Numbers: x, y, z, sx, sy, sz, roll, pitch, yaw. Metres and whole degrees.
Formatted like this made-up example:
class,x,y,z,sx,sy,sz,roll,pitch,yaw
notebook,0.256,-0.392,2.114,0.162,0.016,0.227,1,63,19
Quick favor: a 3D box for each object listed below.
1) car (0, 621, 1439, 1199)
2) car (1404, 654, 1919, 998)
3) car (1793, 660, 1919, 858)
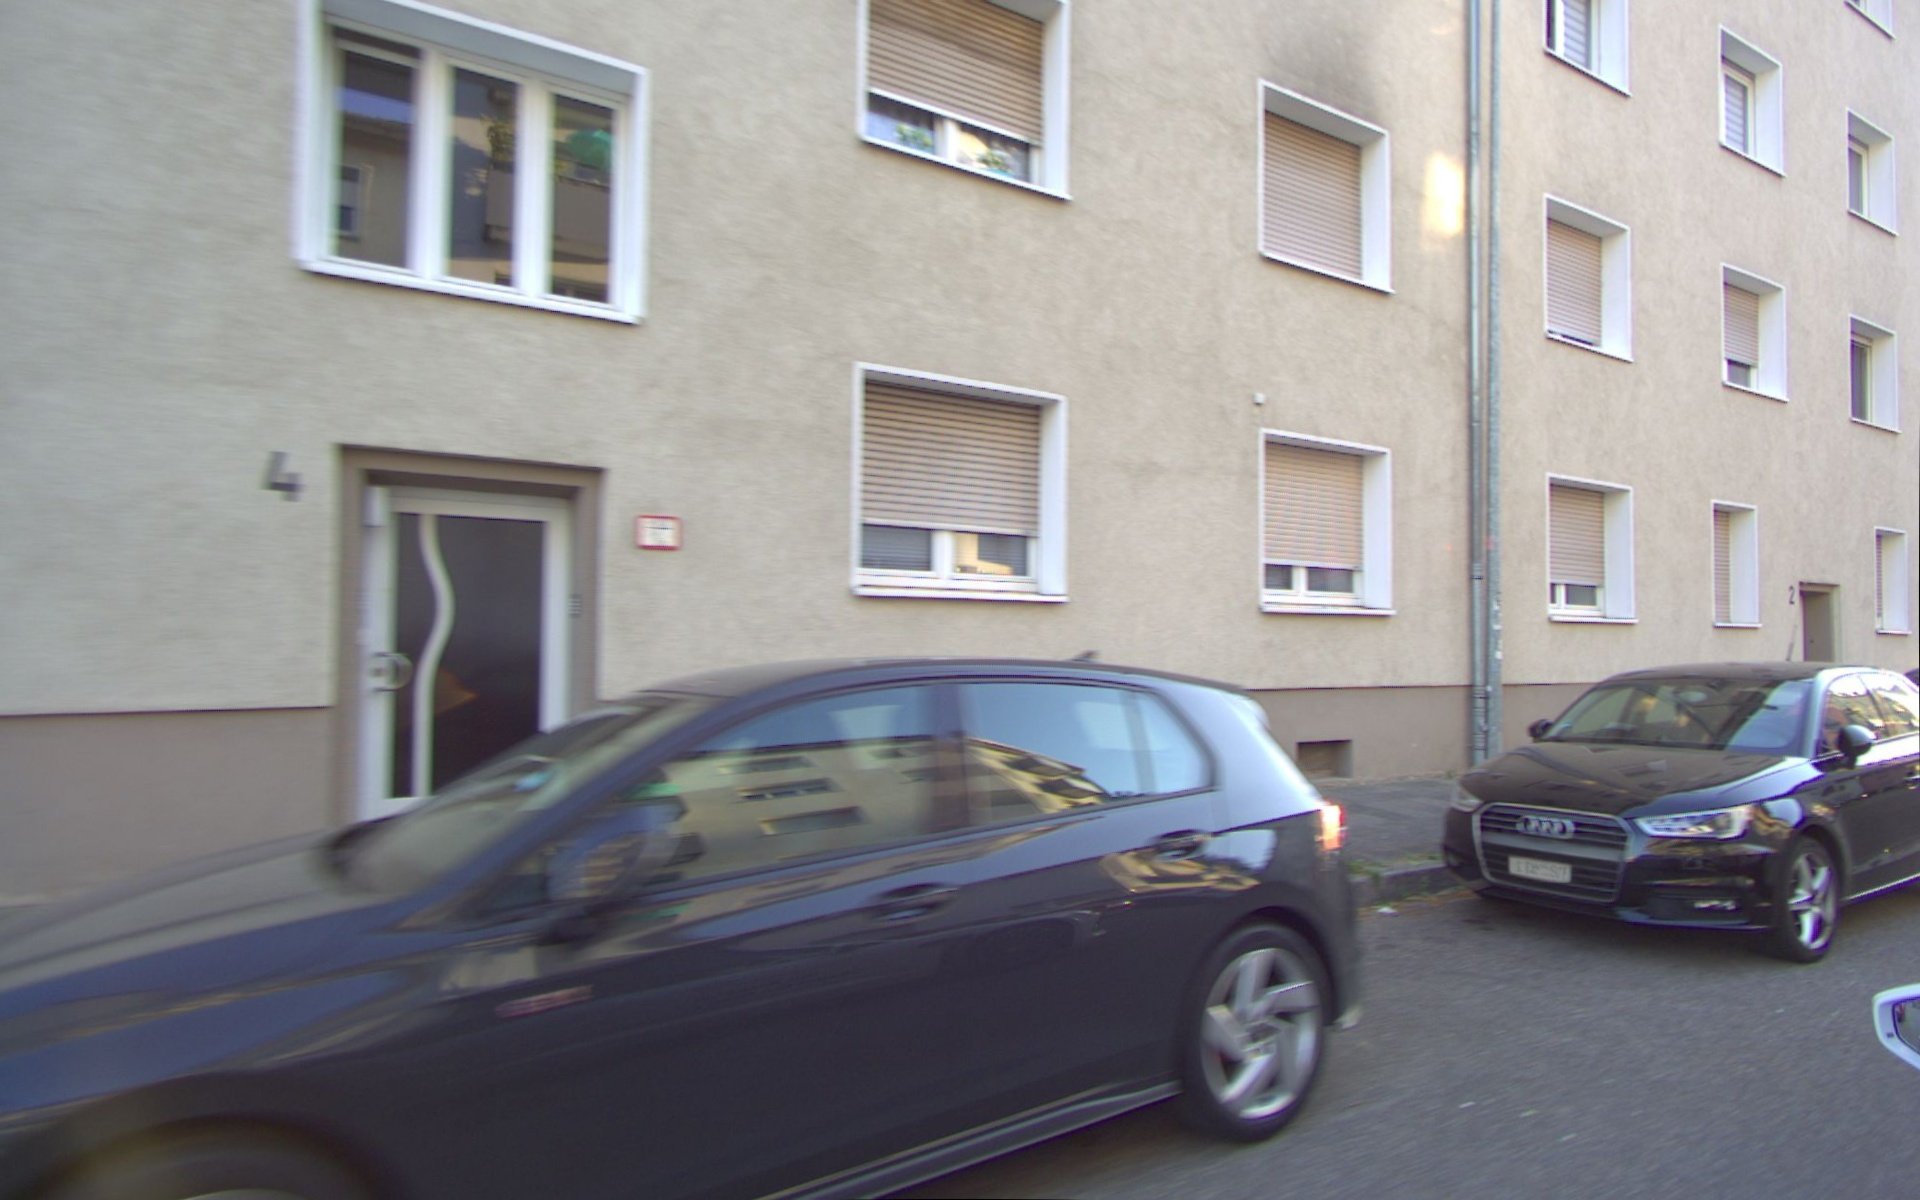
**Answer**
class,x,y,z,sx,sy,sz,roll,pitch,yaw
car,-0.525,0.875,3.039,3.986,1.453,1.651,3,-5,-32
car,4.558,1.085,5.989,3.753,1.453,1.645,3,-5,-31
car,8.759,1.247,8.345,3.832,1.453,1.645,3,-5,-31
